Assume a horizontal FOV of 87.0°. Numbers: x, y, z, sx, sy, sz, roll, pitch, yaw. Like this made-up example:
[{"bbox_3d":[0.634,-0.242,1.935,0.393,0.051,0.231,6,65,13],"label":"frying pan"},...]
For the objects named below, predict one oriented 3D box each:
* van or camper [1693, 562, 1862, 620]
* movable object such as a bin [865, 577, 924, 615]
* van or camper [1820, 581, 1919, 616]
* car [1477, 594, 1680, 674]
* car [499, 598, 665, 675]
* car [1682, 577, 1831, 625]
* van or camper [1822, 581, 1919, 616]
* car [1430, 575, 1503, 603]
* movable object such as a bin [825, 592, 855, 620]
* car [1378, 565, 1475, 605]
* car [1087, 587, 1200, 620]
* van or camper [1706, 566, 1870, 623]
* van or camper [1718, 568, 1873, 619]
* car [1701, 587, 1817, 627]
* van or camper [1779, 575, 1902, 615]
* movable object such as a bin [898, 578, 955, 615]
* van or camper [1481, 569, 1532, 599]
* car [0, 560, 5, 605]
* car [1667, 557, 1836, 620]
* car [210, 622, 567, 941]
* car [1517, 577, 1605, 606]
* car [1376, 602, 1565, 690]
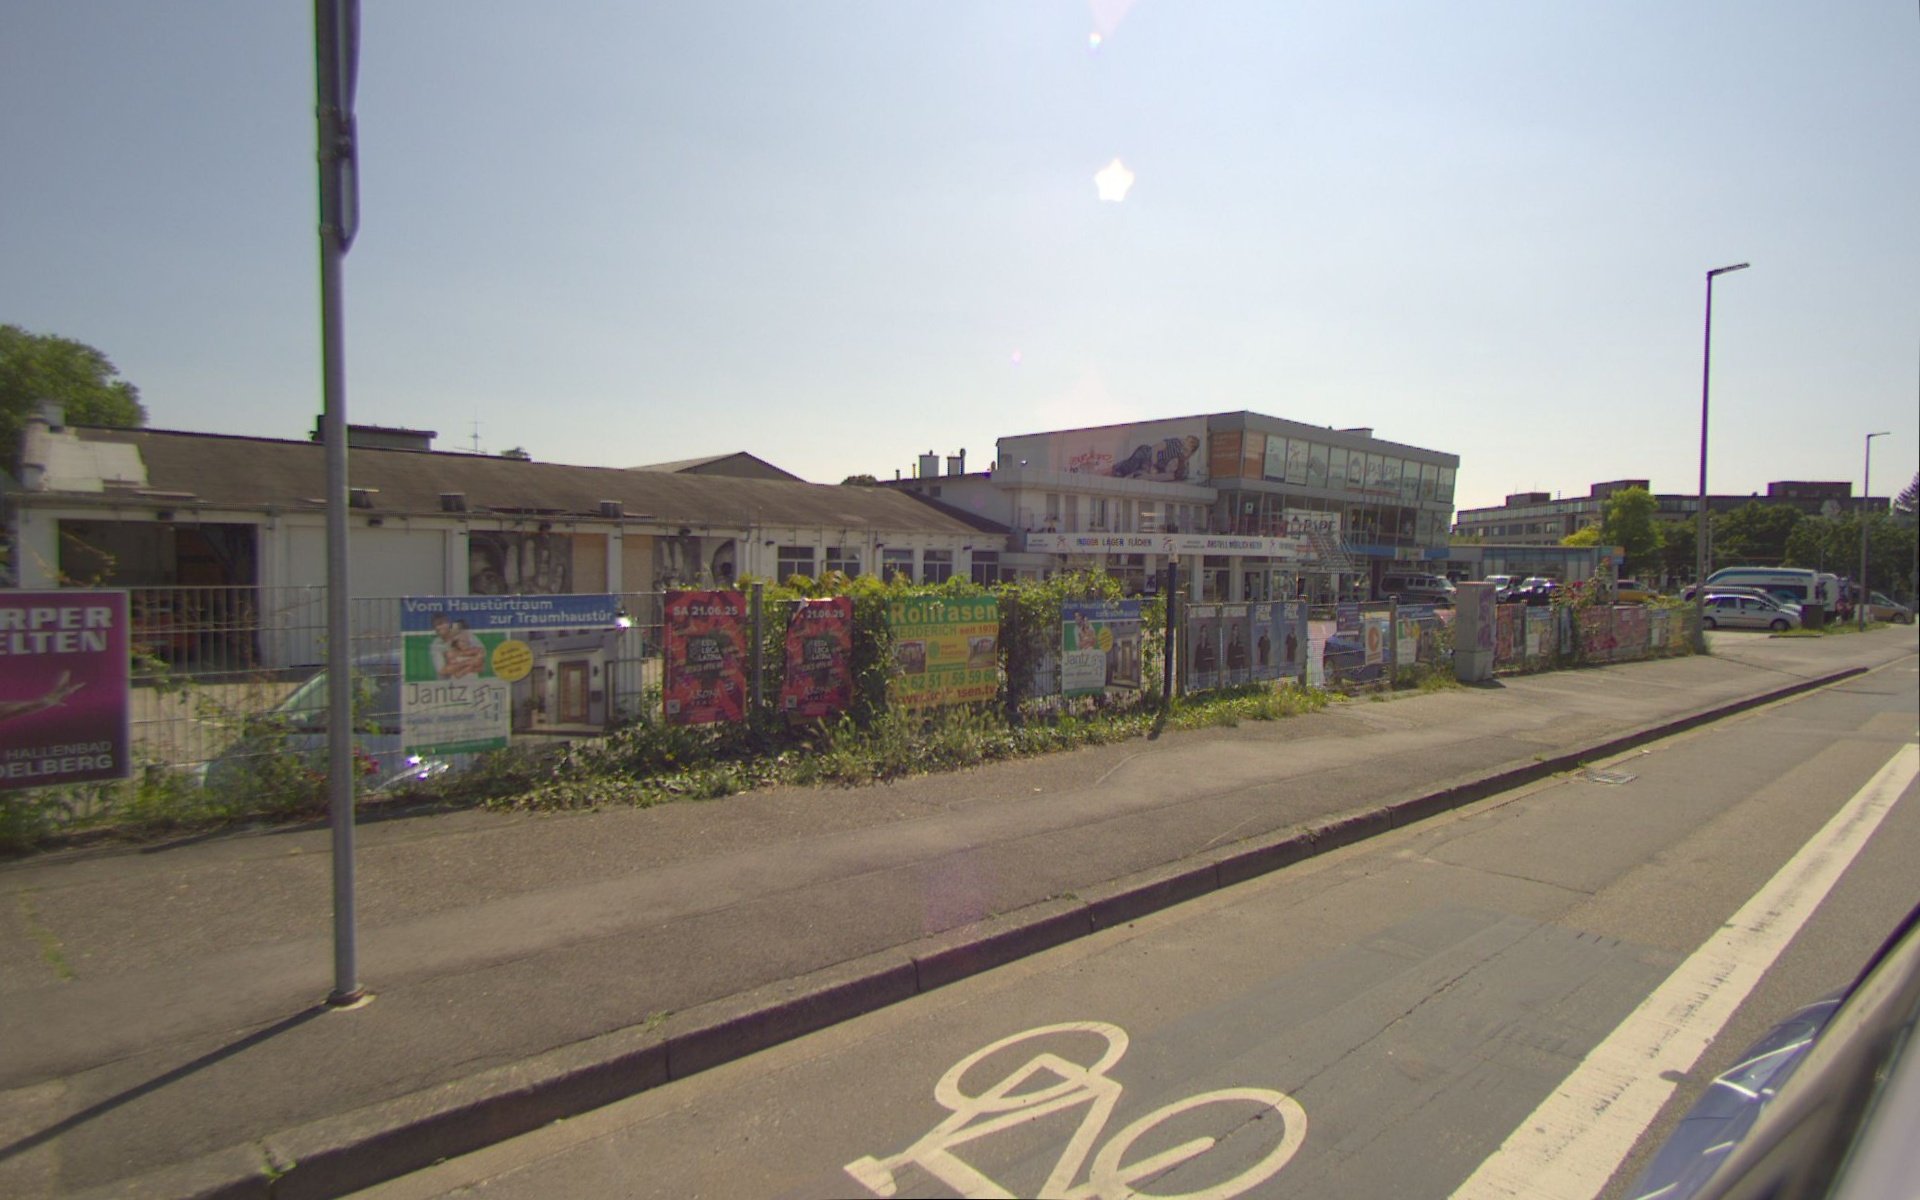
[{"bbox_3d":[41.766,-0.521,51.859,2.666,2.733,6.360,0,2,-42],"label":"van or camper"},{"bbox_3d":[-2.623,-0.177,40.498,1.570,1.474,1.728,2,1,43],"label":"movable object such as a bin"},{"bbox_3d":[60.251,-0.089,66.630,5.069,1.985,1.976,3,3,18],"label":"van or camper"},{"bbox_3d":[15.608,0.775,25.951,1.986,1.641,5.048,-4,1,0],"label":"car"},{"bbox_3d":[-8.403,0.725,22.284,2.082,1.415,4.337,0,1,-41],"label":"car"},{"bbox_3d":[37.761,0.001,48.099,1.966,1.975,5.243,0,3,-42],"label":"car"},{"bbox_3d":[62.196,-0.118,68.820,4.917,2.070,2.031,3,2,18],"label":"van or camper"},{"bbox_3d":[35.043,-0.793,70.038,4.107,1.754,1.968,3,2,44],"label":"car"},{"bbox_3d":[-4.669,0.235,39.285,0.745,1.049,0.862,2,1,43],"label":"movable object such as a bin"},{"bbox_3d":[30.701,-1.033,66.677,2.288,2.448,5.301,0,2,-45],"label":"car"},{"bbox_3d":[7.637,0.143,42.476,4.475,1.306,1.892,-1,0,6],"label":"car"},{"bbox_3d":[43.843,-0.347,53.724,2.666,2.749,6.360,0,2,-42],"label":"van or camper"},{"bbox_3d":[45.760,-0.418,55.536,2.574,2.555,6.206,0,2,-42],"label":"van or camper"},{"bbox_3d":[36.092,0.286,45.784,1.769,1.613,3.924,0,2,-45],"label":"car"},{"bbox_3d":[64.457,-0.433,74.231,6.266,2.669,2.524,2,2,12],"label":"van or camper"},{"bbox_3d":[-1.376,-0.146,41.802,1.570,1.474,1.797,2,1,43],"label":"movable object such as a bin"},{"bbox_3d":[39.691,-1.132,73.443,2.116,2.038,5.037,3,2,42],"label":"van or camper"},{"bbox_3d":[-43.896,-0.803,43.531,3.927,1.927,1.762,1,2,-39],"label":"car"},{"bbox_3d":[39.193,-0.638,50.291,2.280,2.905,6.239,0,2,-41],"label":"car"},{"bbox_3d":[-4.195,1.052,7.610,1.852,1.621,3.486,1,1,-29],"label":"car"},{"bbox_3d":[39.281,-0.572,66.209,4.540,1.699,1.968,3,2,44],"label":"car"},{"bbox_3d":[10.902,0.913,21.952,1.855,1.636,3.834,1,1,-5],"label":"car"}]
